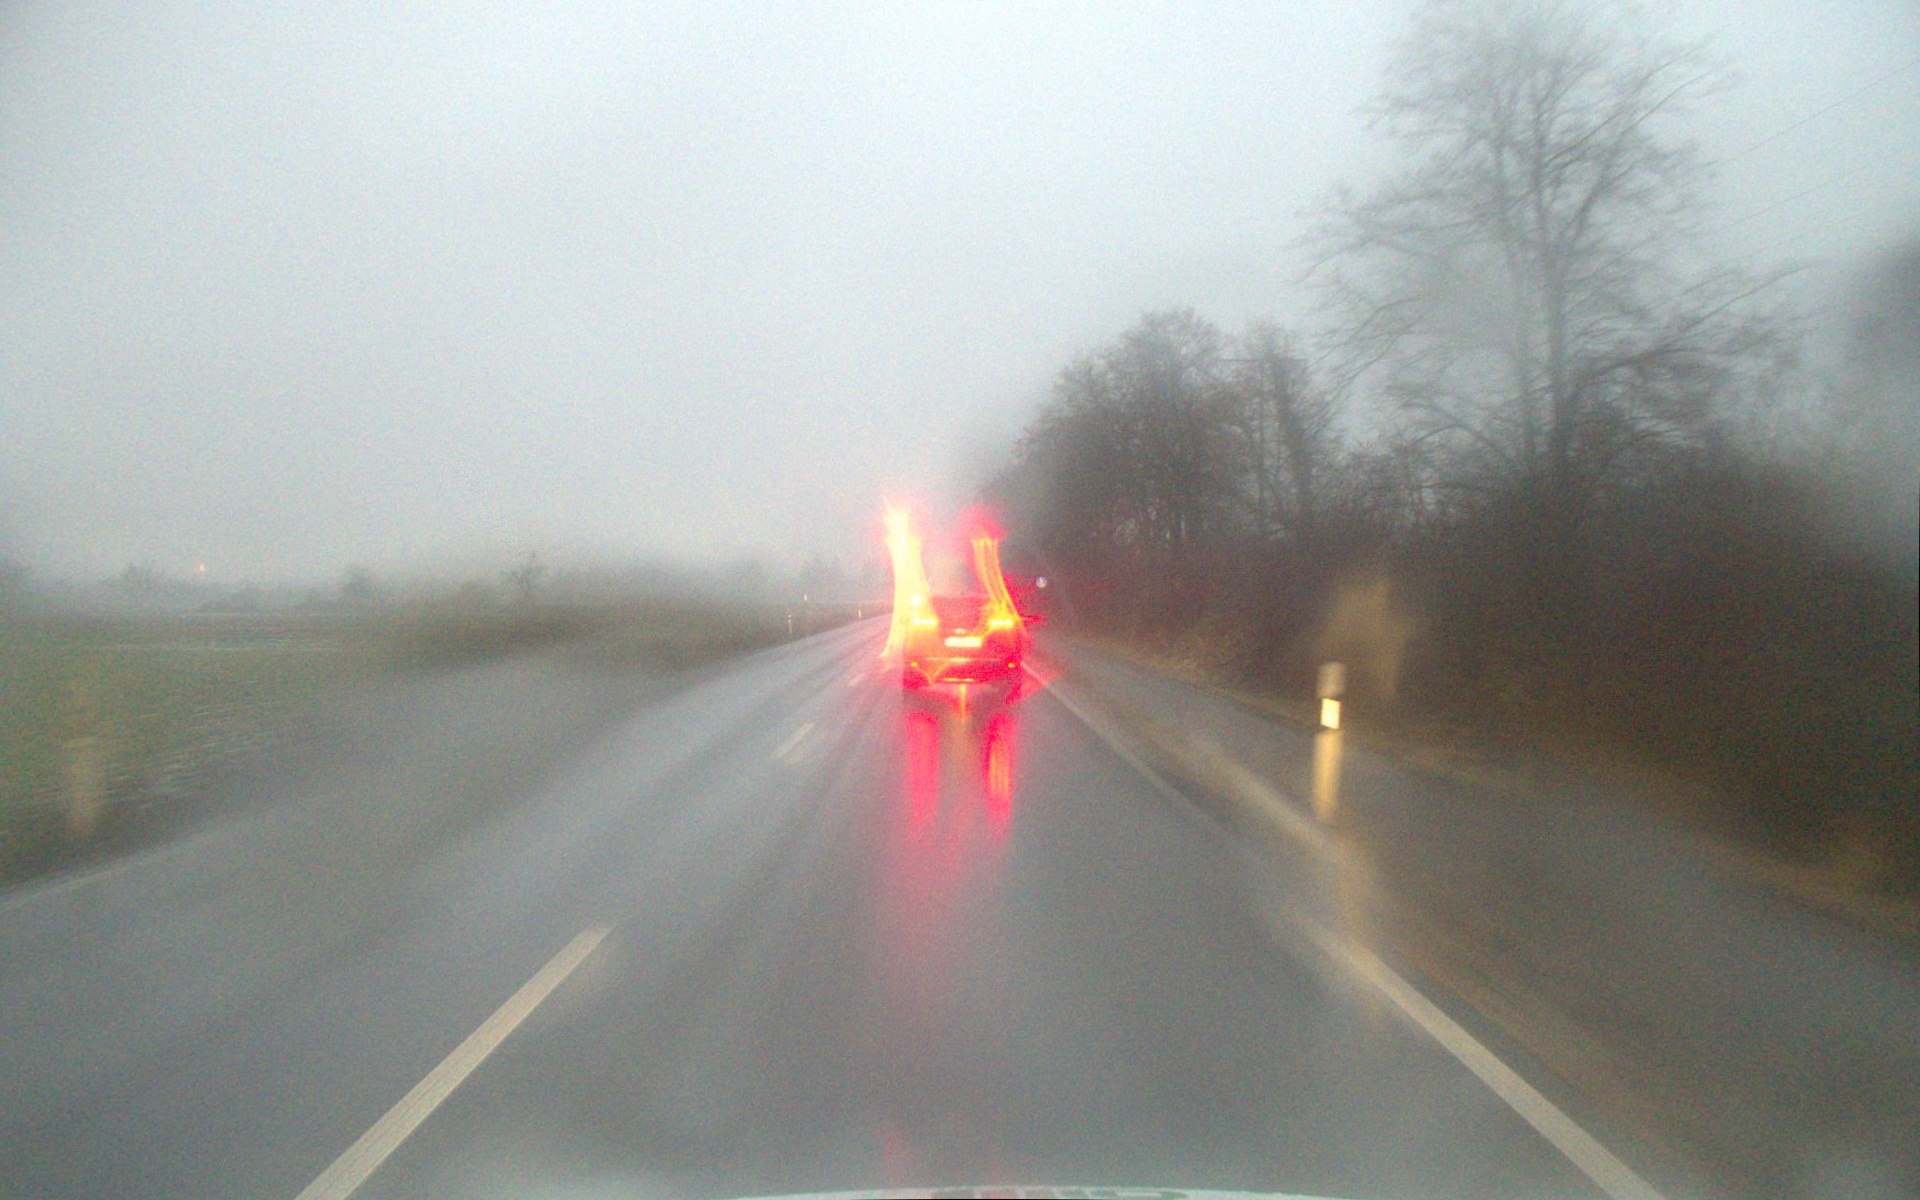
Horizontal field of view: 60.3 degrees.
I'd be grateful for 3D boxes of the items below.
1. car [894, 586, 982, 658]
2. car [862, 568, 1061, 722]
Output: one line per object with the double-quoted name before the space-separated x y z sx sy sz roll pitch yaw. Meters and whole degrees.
"car" -0.642 0.643 51.046 2.539 2.049 5.804 1 0 0
"car" 0.019 0.644 26.109 2.763 2.113 5.804 1 0 0
